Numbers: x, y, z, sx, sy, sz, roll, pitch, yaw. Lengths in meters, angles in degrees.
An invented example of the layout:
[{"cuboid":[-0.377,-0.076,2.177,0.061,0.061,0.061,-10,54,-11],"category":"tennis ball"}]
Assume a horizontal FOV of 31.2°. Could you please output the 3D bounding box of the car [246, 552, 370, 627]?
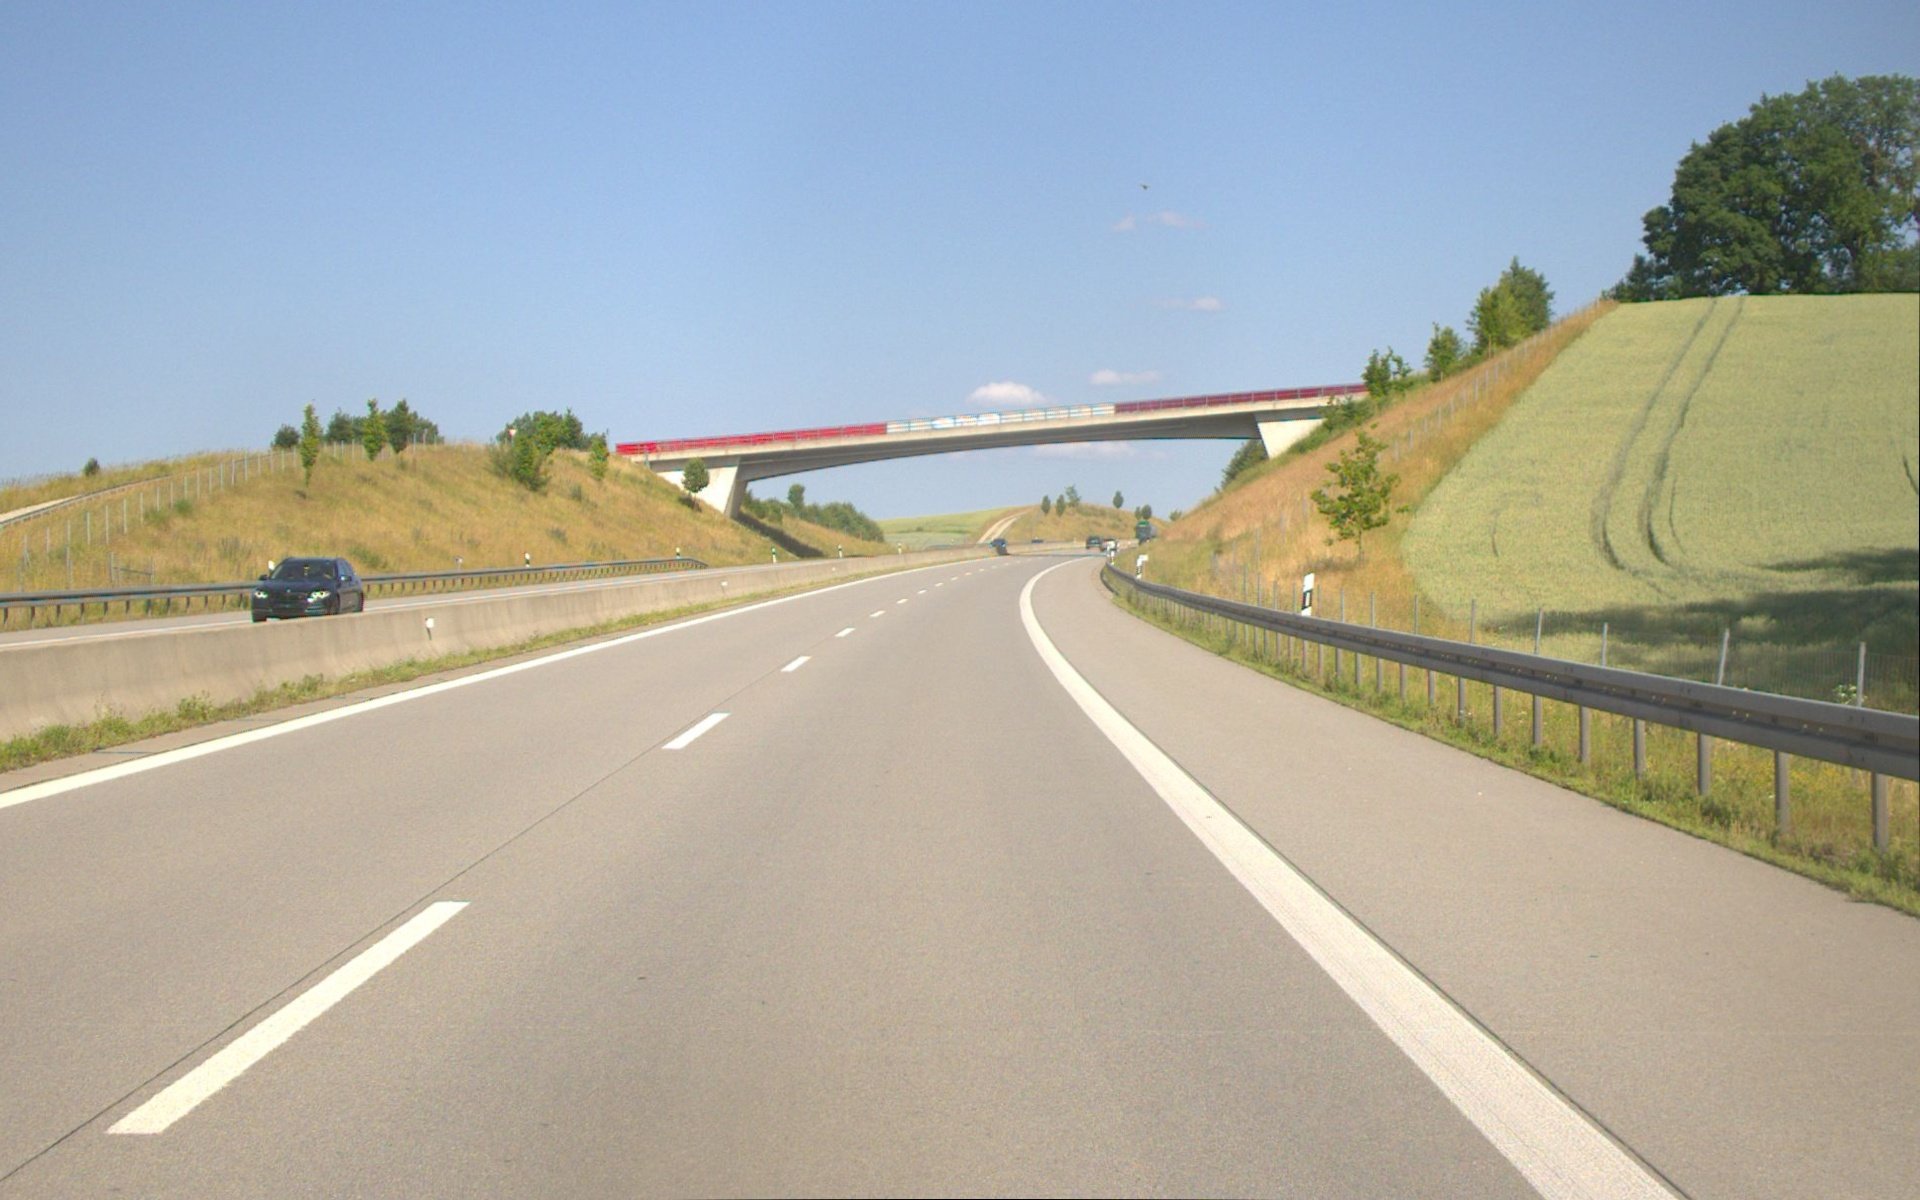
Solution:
[{"cuboid":[-14.601,-0.231,77.207,1.813,1.609,4.676,1,0,1],"category":"car"}]
